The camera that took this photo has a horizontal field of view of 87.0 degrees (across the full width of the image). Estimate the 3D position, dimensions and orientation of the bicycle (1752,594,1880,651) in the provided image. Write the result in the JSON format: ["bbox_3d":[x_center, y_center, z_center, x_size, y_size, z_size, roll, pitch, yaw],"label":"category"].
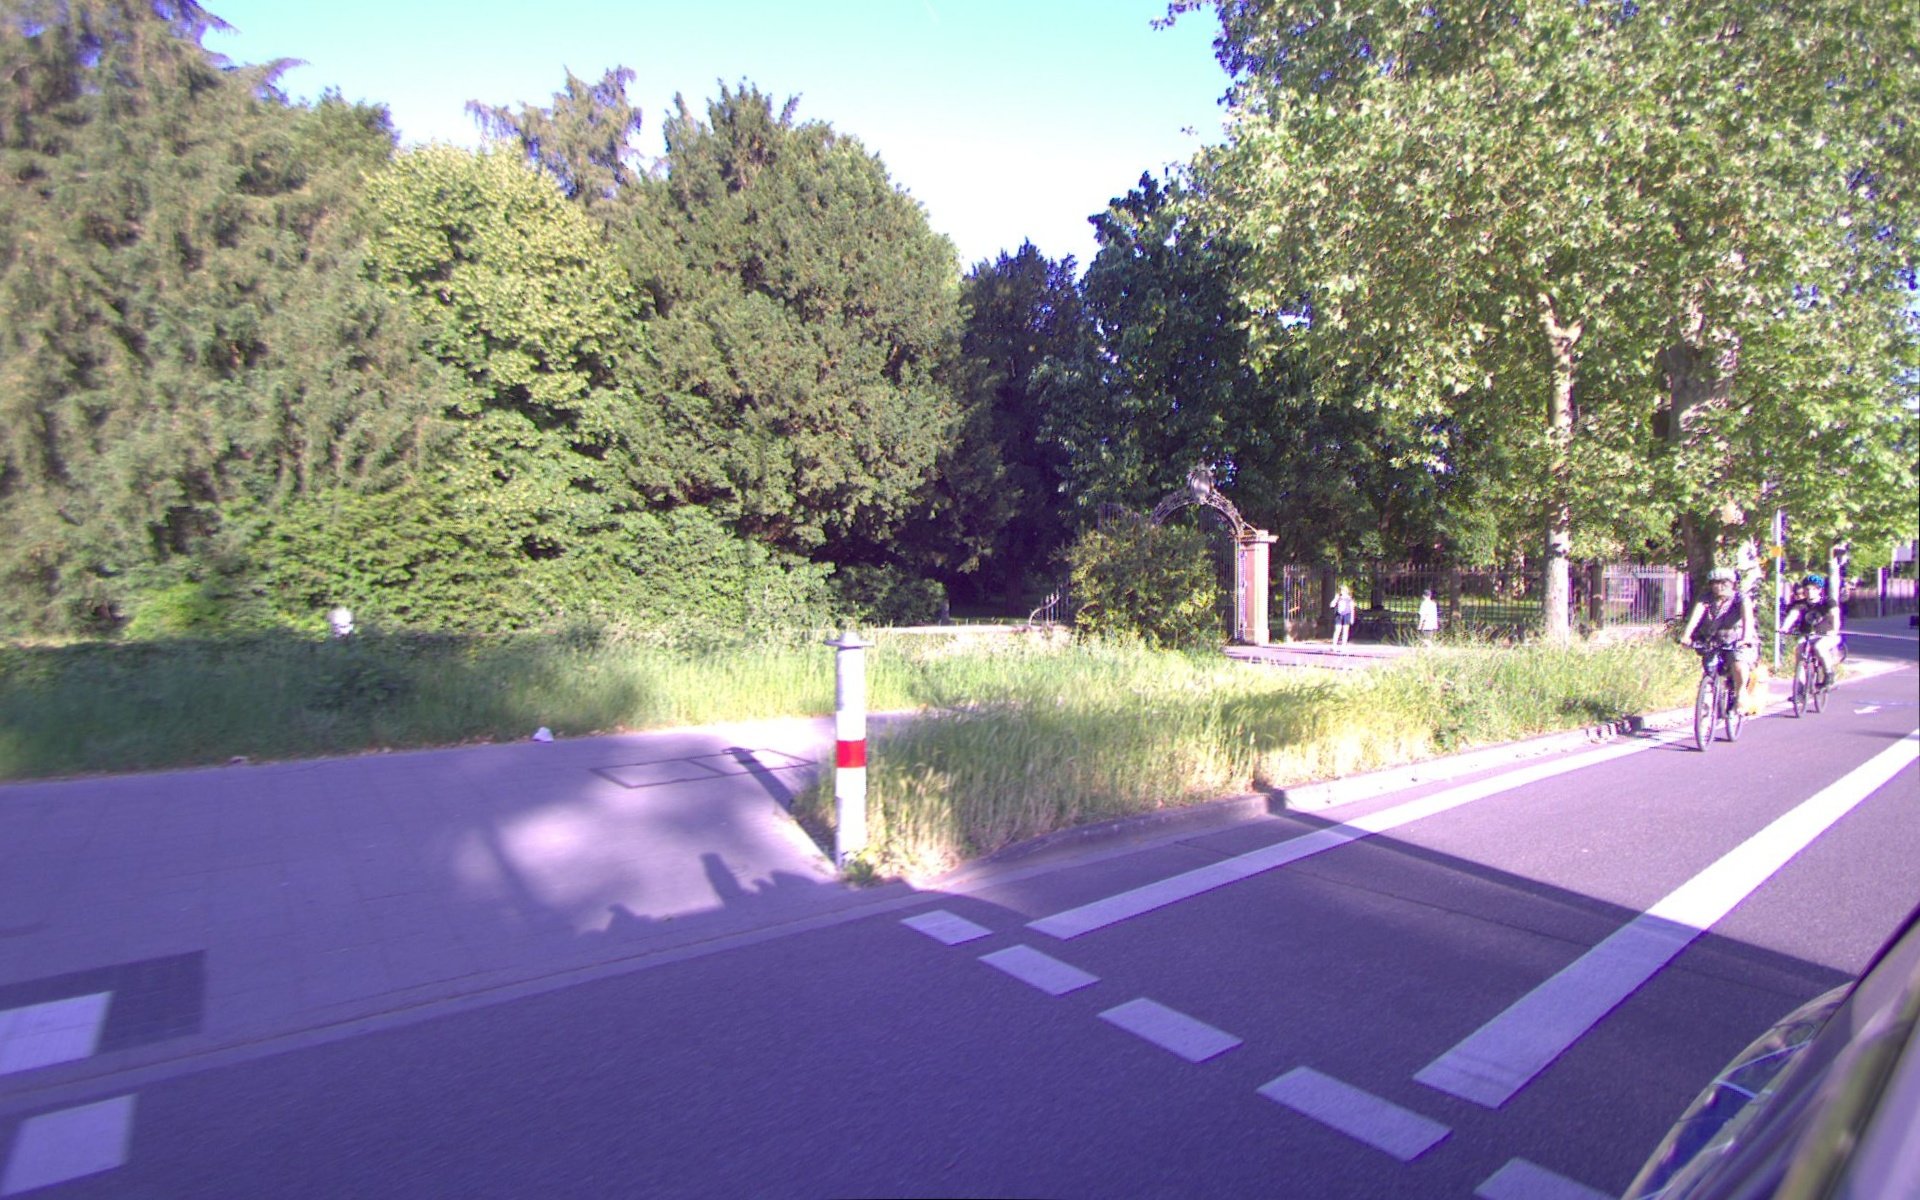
[{"bbox_3d":[18.305,0.459,21.694,0.682,1.109,1.992,-1,2,-33],"label":"bicycle"}]

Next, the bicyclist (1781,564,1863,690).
[{"bbox_3d":[10.892,0.315,12.784,0.878,1.520,0.694,-1,1,-44],"label":"bicyclist"}]

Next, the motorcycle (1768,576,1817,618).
[{"bbox_3d":[27.051,-0.122,32.889,2.002,1.309,0.906,-1,2,-41],"label":"motorcycle"}]

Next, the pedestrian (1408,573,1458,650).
[{"bbox_3d":[9.887,0.224,21.155,0.667,1.565,0.693,-1,1,-32],"label":"pedestrian"}]

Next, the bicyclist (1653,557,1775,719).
[{"bbox_3d":[7.386,0.344,9.924,0.784,1.509,0.696,-1,1,-30],"label":"bicyclist"}]

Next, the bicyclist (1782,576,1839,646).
[{"bbox_3d":[18.266,0.224,21.737,0.682,1.465,0.767,-1,1,-34],"label":"bicyclist"}]

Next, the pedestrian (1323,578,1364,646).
[{"bbox_3d":[9.436,0.279,24.910,0.667,1.653,0.693,-1,1,-32],"label":"pedestrian"}]

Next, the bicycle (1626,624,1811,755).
[{"bbox_3d":[7.567,0.840,10.065,2.093,1.109,0.696,-1,1,-30],"label":"bicycle"}]
